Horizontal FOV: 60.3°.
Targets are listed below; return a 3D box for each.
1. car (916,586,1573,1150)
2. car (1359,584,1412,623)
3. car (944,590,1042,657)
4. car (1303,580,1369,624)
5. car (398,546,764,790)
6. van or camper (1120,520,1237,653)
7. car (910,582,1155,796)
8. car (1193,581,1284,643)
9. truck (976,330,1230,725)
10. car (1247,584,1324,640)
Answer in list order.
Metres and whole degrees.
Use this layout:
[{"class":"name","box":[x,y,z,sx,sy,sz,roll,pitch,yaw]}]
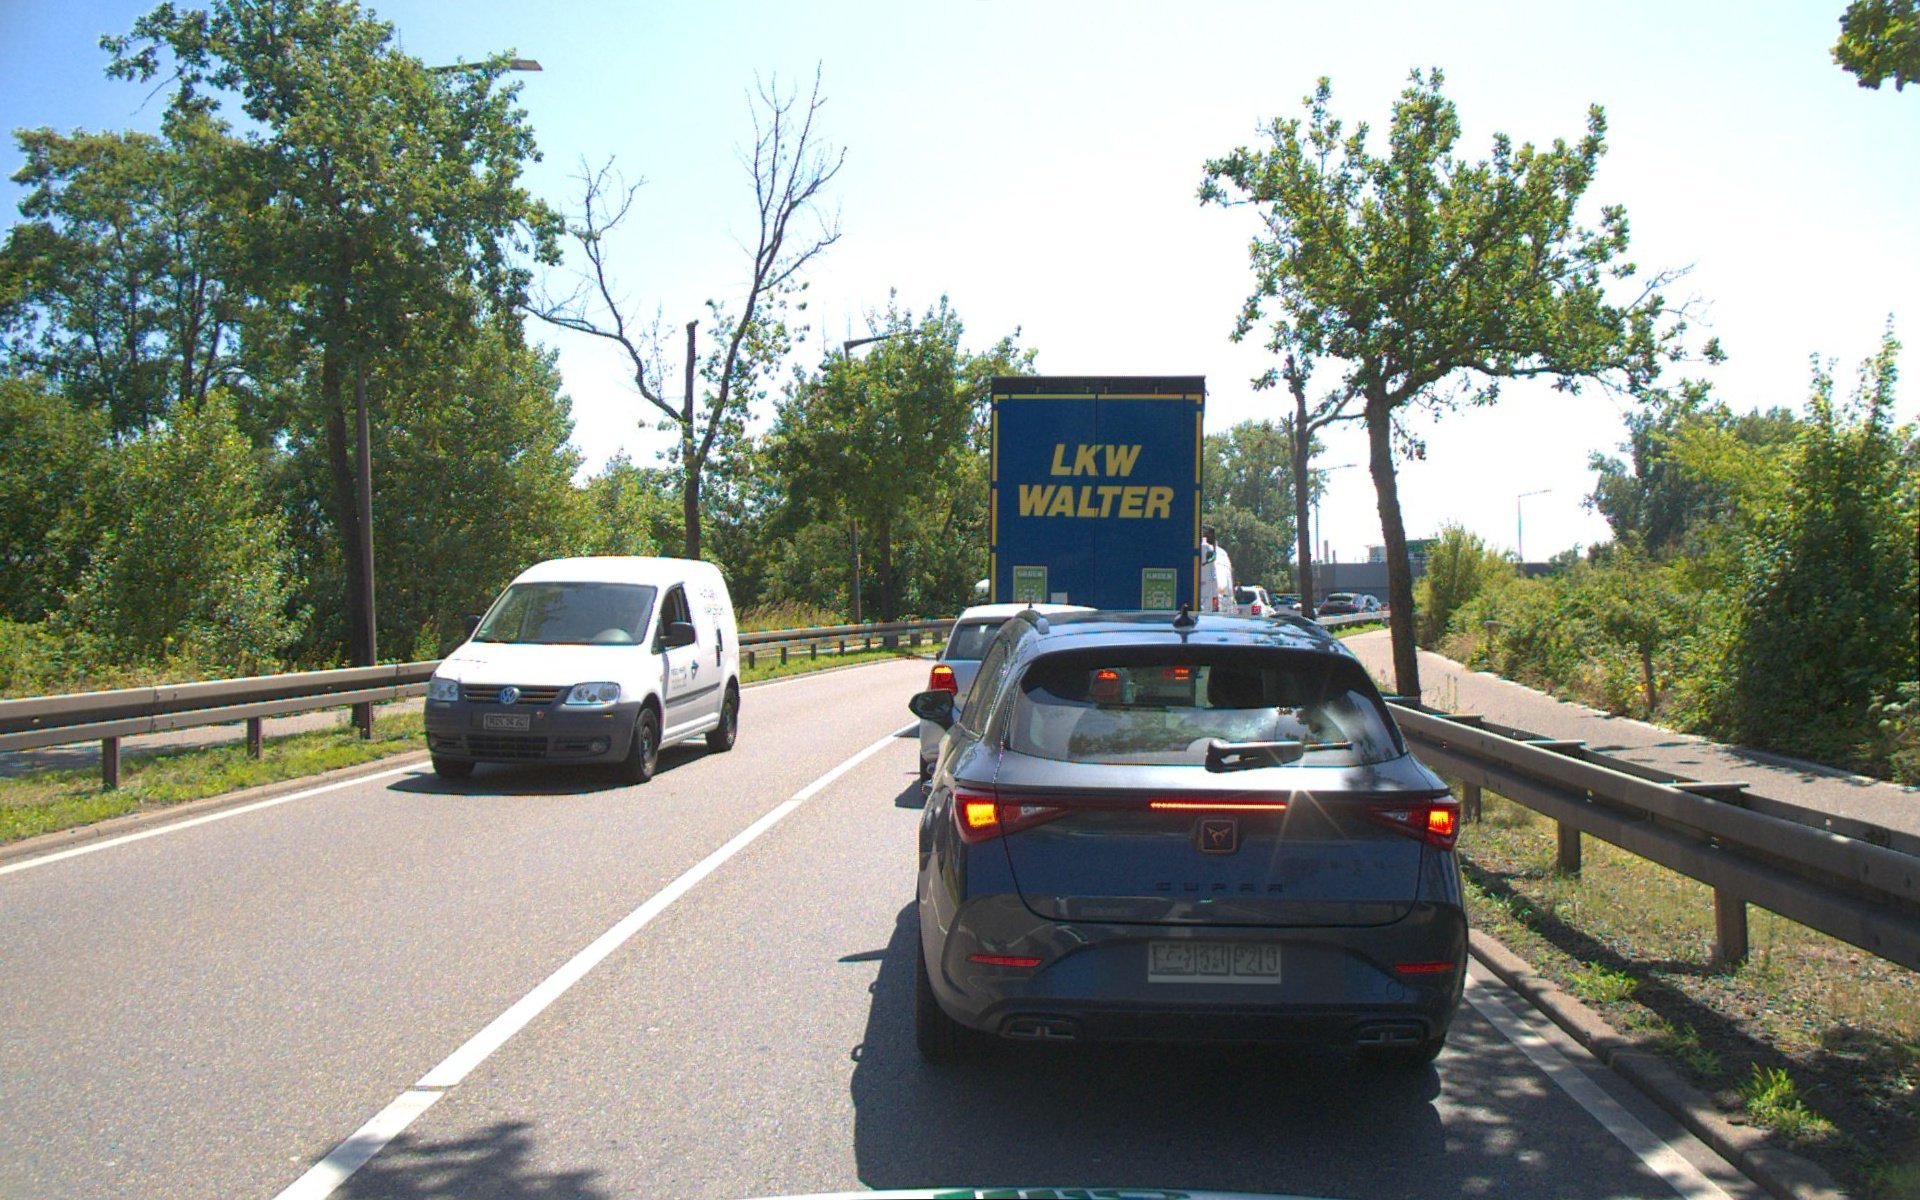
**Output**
[{"class":"car","box":[0.710,0.700,6.261,1.709,1.457,3.879,1,0,-1]},{"class":"car","box":[20.490,0.148,79.578,1.952,1.799,4.755,1,0,21]},{"class":"car","box":[0.834,0.515,38.575,1.780,1.446,4.470,1,0,7]},{"class":"car","box":[15.707,0.103,68.981,1.953,1.747,4.868,1,0,22]},{"class":"car","box":[-3.103,0.499,14.551,1.708,1.794,4.392,1,0,7]},{"class":"van or camper","box":[5.516,-0.318,41.042,2.413,3.051,6.091,1,0,12]},{"class":"car","box":[0.542,0.642,14.058,1.772,1.534,4.000,1,0,0]},{"class":"car","box":[8.399,0.348,49.600,1.952,1.742,4.622,1,0,19]},{"class":"truck","box":[2.779,-0.852,27.479,2.887,4.526,16.811,1,0,8]},{"class":"car","box":[11.349,0.402,57.406,1.952,1.840,4.847,1,0,19]}]
